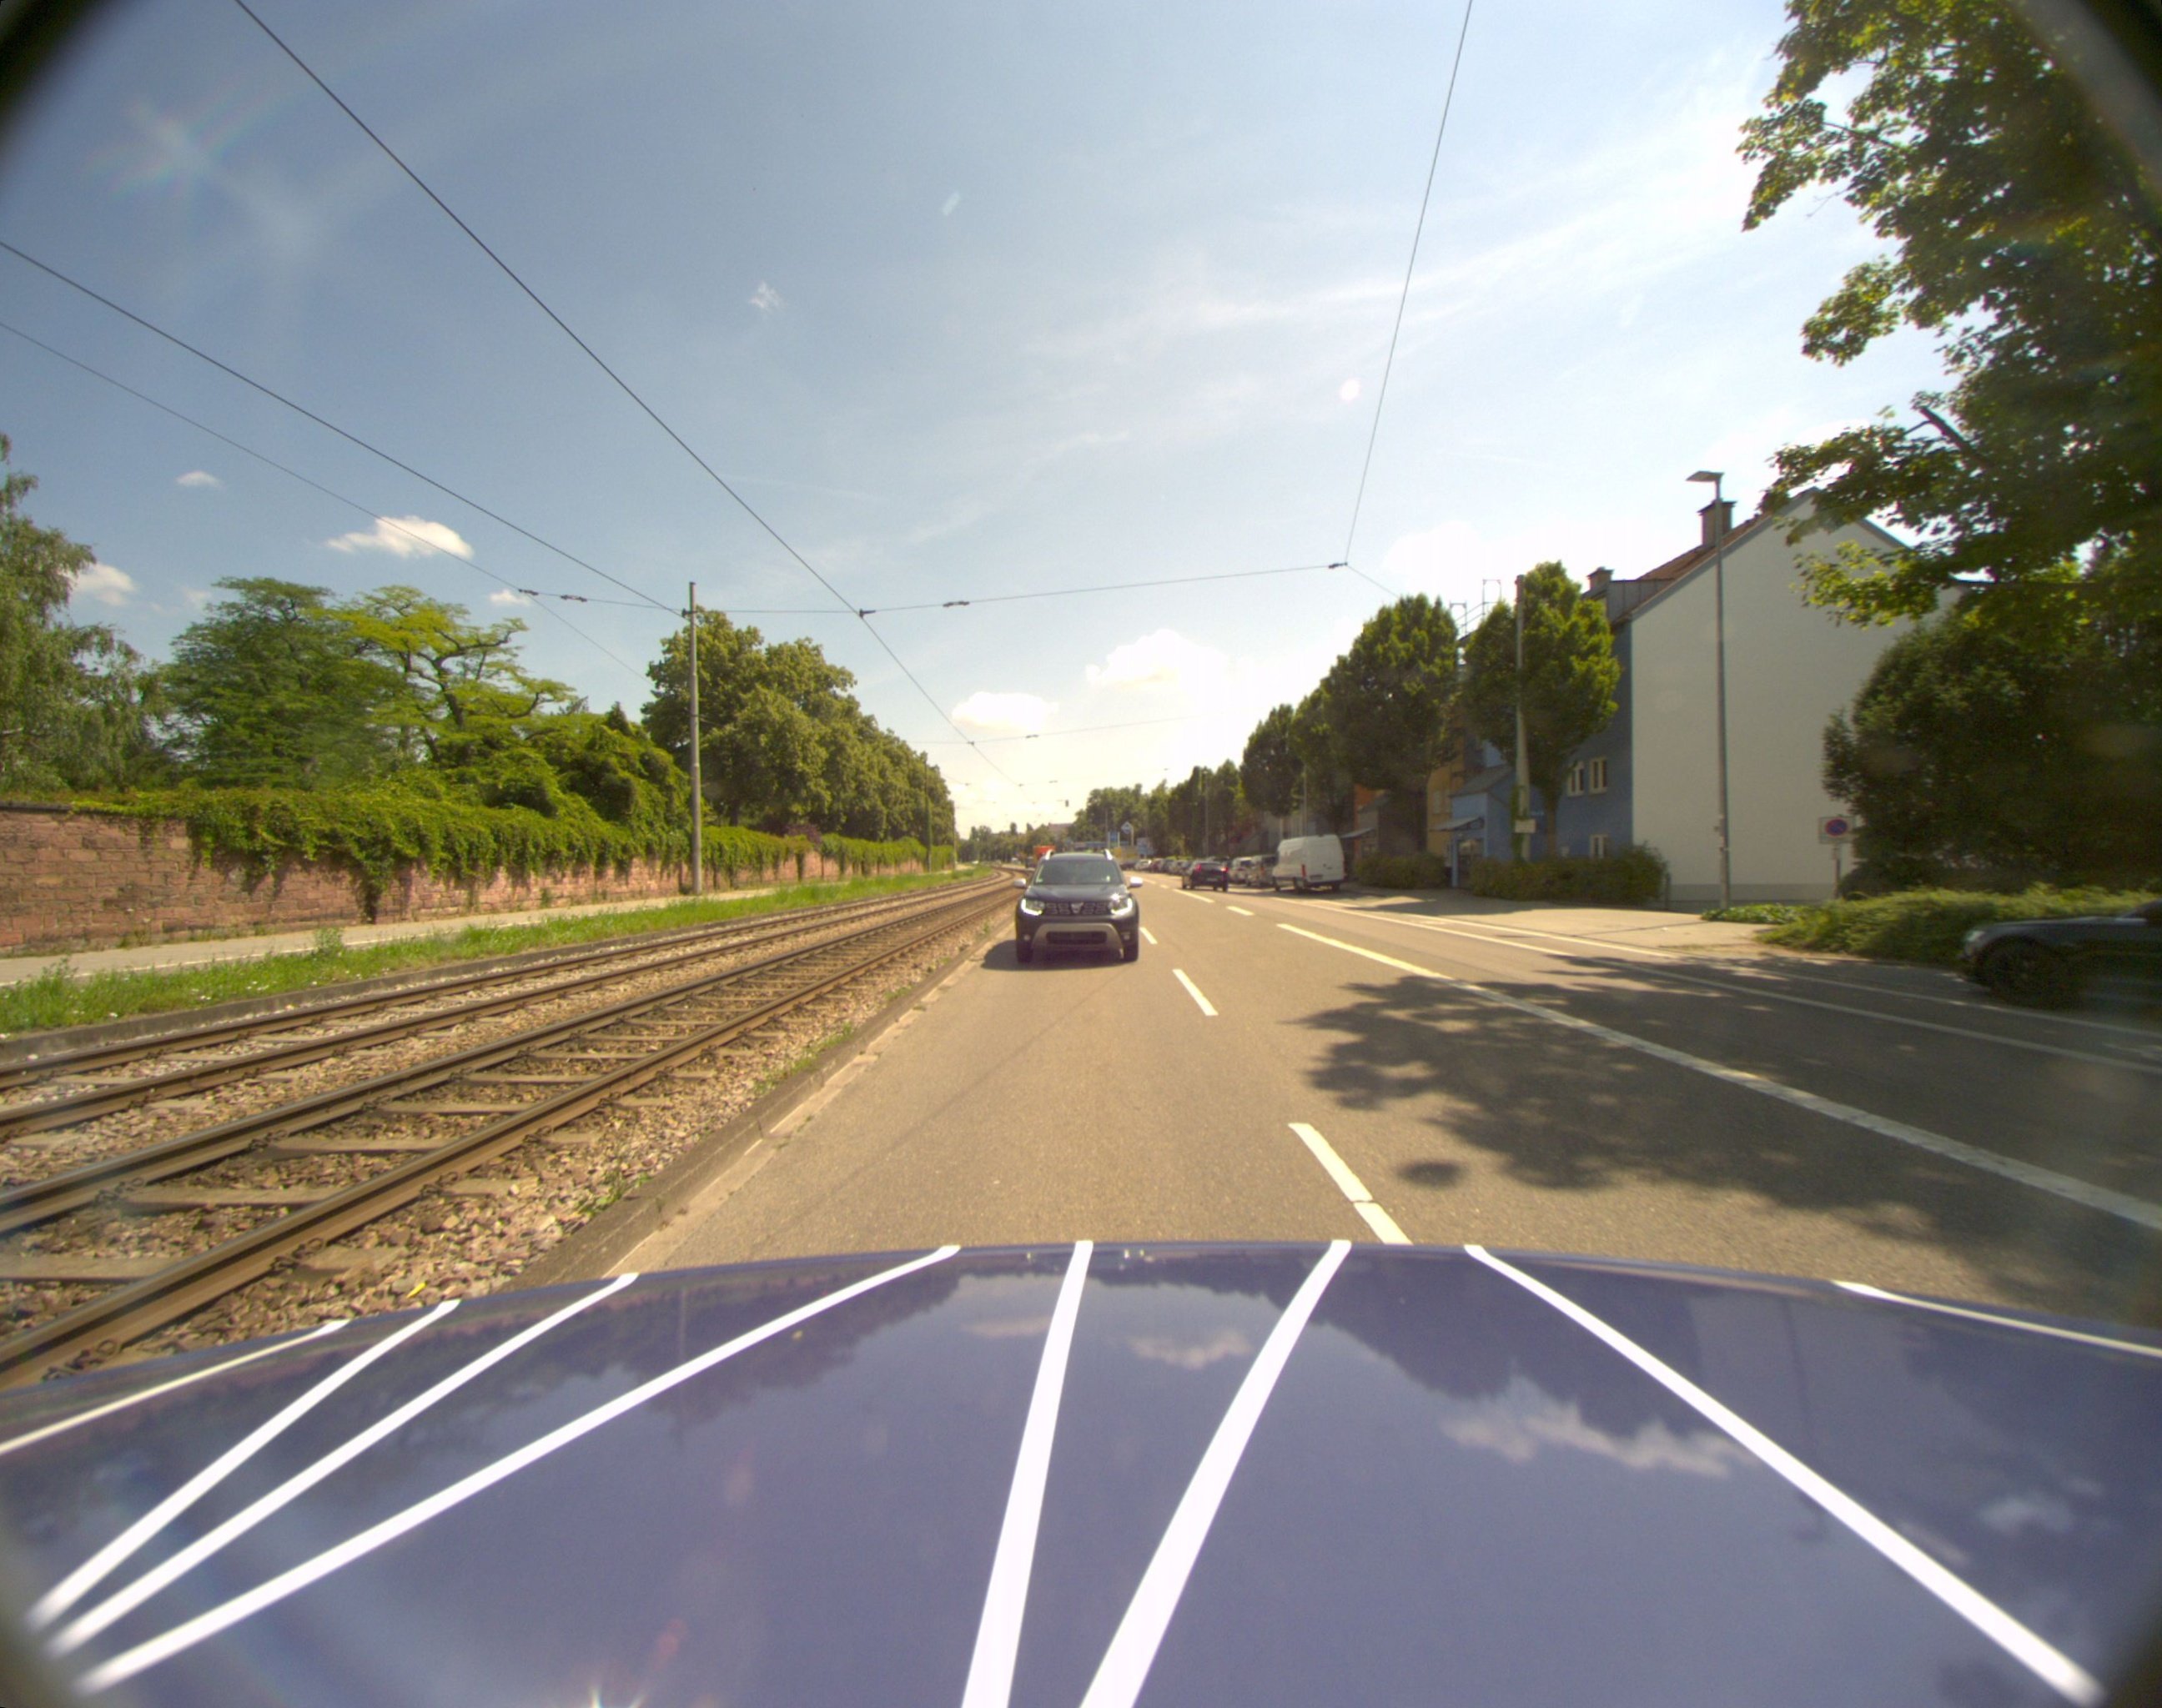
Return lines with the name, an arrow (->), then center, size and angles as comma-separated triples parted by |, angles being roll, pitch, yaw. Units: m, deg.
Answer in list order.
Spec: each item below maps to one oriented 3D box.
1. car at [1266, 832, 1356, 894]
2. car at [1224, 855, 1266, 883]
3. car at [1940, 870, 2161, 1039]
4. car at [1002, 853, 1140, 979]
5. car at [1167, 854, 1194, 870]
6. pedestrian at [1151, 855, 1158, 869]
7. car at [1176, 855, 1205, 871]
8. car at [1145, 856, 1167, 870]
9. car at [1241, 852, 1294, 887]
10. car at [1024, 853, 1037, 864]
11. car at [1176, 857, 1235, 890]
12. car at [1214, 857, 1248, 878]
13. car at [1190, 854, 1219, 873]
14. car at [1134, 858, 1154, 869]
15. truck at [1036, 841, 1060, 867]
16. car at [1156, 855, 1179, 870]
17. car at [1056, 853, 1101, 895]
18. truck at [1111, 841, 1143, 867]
car -> 11.145, 0.417, 37.520 | 2.329, 2.635, 7.035 | -5, 0, 1
car -> 10.998, 0.953, 51.359 | 1.721, 1.742, 4.903 | -2, 0, 0
car -> 10.531, 0.915, 6.113 | 1.779, 1.447, 4.804 | -1, 0, -1
car -> -0.014, 0.850, 12.649 | 1.801, 1.652, 4.789 | -2, 0, 3
car -> 10.305, 0.794, 79.076 | 1.660, 1.499, 4.893 | -4, 1, -5
pedestrian -> 9.918, 1.094, 102.097 | 0.642, 1.911, 0.710 | 0, 0, 35
car -> 10.483, 0.861, 73.269 | 1.746, 1.438, 4.962 | -2, 0, -4
car -> 8.847, 1.085, 90.457 | 1.661, 1.600, 4.171 | -1, 0, -8
car -> 11.091, 0.898, 45.512 | 1.811, 1.884, 5.362 | -3, 0, 1
car -> -9.472, 0.870, 142.020 | 2.000, 2.002, 3.997 | -2, 1, -8
car -> 5.929, 0.903, 36.696 | 1.780, 1.451, 4.193 | 1, 0, -5
car -> 11.116, 1.008, 56.480 | 1.603, 1.462, 4.086 | -1, 0, -2
car -> 10.862, 0.778, 67.132 | 1.660, 1.608, 4.284 | 0, 1, -2
car -> 8.121, 1.210, 98.810 | 1.661, 1.402, 4.394 | 0, 0, -8
truck -> -4.900, -0.020, 112.343 | 2.847, 3.574, 8.700 | -1, 0, -6
car -> 9.588, 0.917, 84.725 | 1.660, 1.600, 4.685 | -3, 0, -5
car -> -0.148, 0.831, 33.194 | 1.802, 1.683, 4.144 | -1, 0, -1
truck -> 6.617, 0.023, 110.843 | 2.840, 3.527, 8.165 | -3, 0, -8
